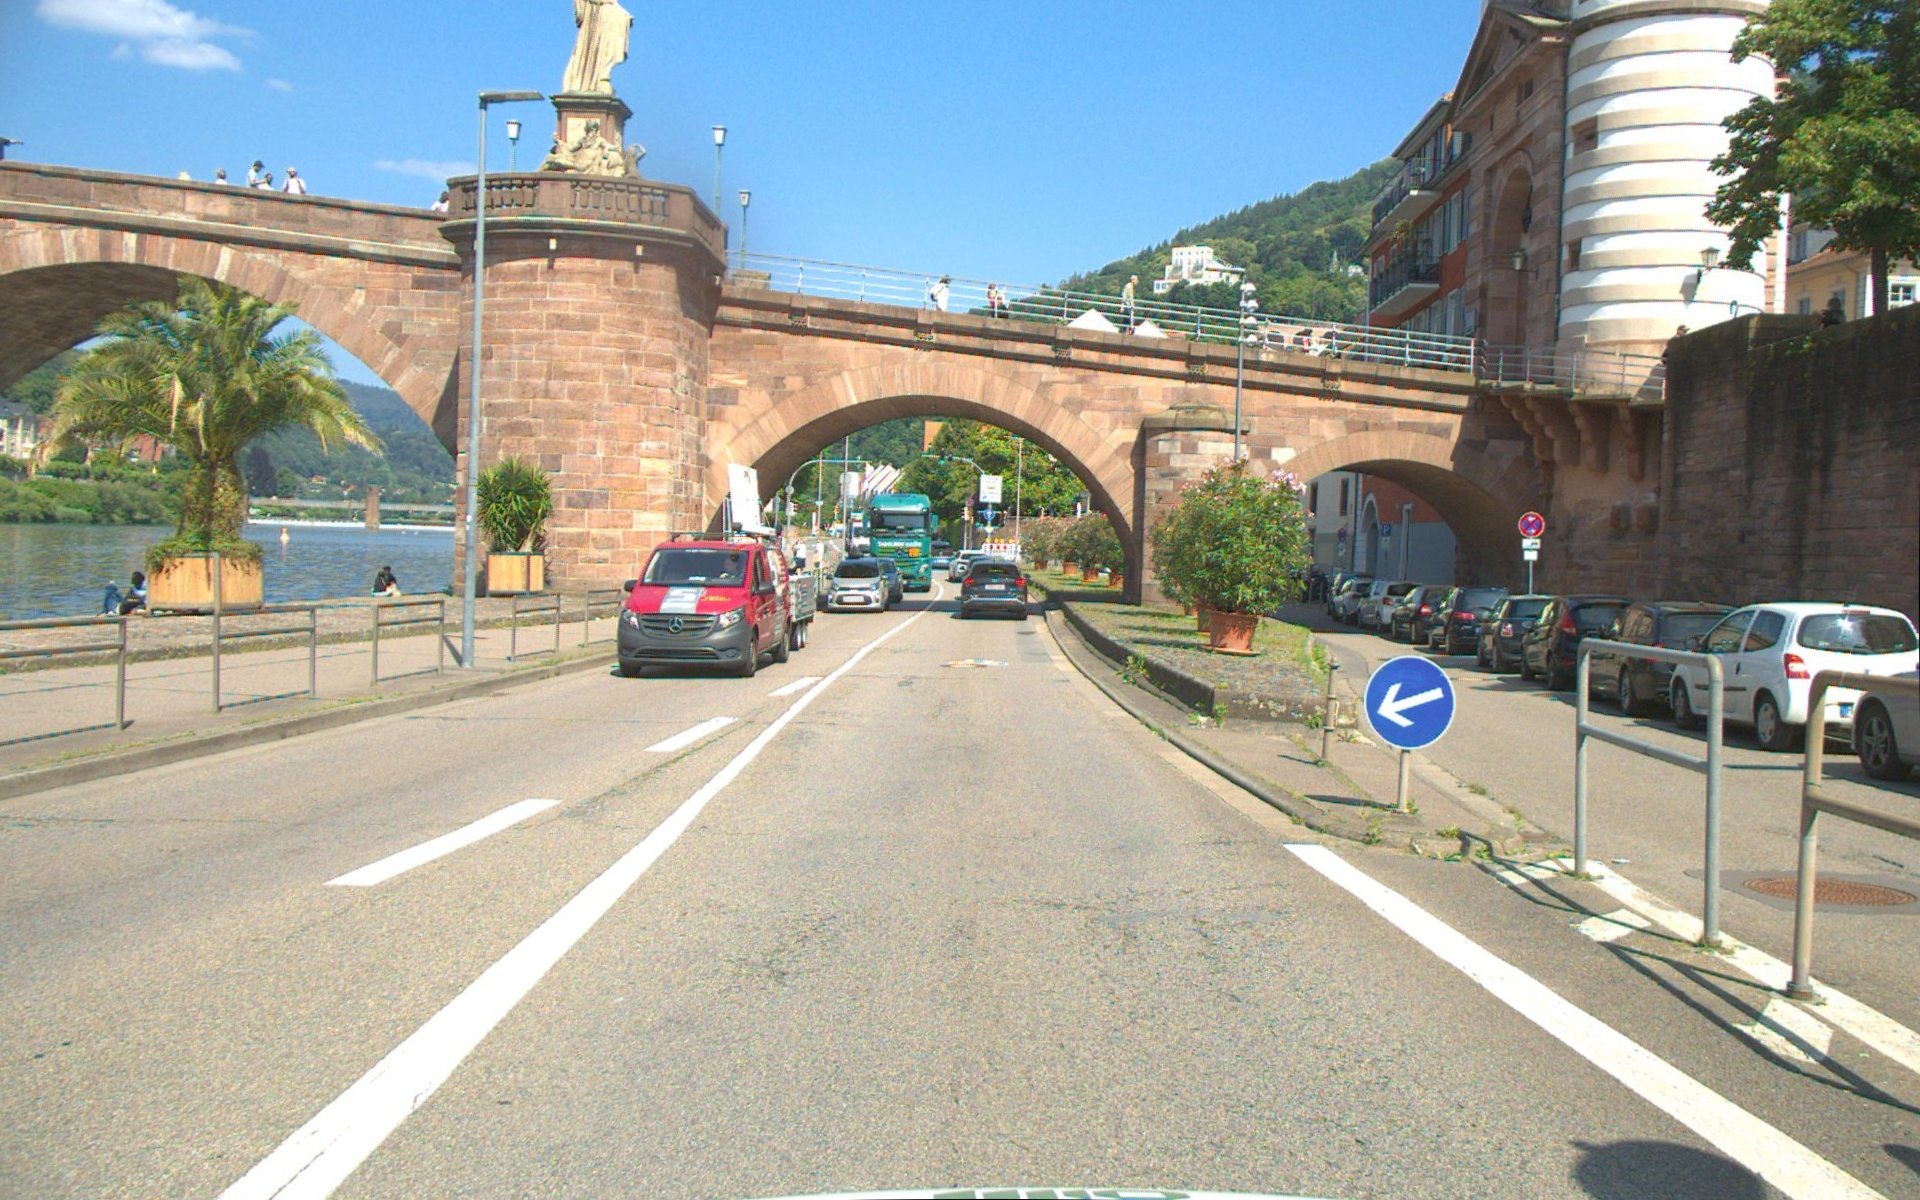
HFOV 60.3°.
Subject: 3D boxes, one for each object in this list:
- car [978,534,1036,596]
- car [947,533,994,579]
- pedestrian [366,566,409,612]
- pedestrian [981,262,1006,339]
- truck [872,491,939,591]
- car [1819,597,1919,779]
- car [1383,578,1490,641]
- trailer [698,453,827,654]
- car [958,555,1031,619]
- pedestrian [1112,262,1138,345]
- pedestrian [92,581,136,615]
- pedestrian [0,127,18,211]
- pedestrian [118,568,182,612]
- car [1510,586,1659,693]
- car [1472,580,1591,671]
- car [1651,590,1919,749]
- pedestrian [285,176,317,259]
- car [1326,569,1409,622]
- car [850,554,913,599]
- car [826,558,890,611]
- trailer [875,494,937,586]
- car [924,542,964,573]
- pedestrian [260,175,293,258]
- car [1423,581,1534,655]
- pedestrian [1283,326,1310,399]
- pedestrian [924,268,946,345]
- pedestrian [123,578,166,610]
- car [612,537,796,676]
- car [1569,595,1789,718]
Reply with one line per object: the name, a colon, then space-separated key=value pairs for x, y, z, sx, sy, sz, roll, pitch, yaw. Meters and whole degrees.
car: x=1.645 y=-1.224 z=58.127 sx=1.952 sy=2.048 sz=4.001 roll=1 pitch=1 yaw=1
car: x=0.482 y=-2.035 z=76.991 sx=1.954 sy=2.048 sz=3.998 roll=1 pitch=1 yaw=-3
pedestrian: x=-16.298 y=-0.315 z=47.121 sx=0.711 sy=1.262 sz=1.146 roll=1 pitch=1 yaw=5
pedestrian: x=0.956 y=-8.445 z=46.674 sx=0.670 sy=2.048 sz=0.586 roll=1 pitch=1 yaw=2
truck: x=-2.114 y=-2.415 z=66.481 sx=2.472 sy=3.813 sz=6.247 roll=0 pitch=3 yaw=0
car: x=8.645 y=0.759 z=12.827 sx=1.717 sy=1.457 sz=4.759 roll=2 pitch=1 yaw=4
car: x=12.298 y=0.208 z=42.954 sx=1.738 sy=1.461 sz=4.495 roll=1 pitch=1 yaw=4
trailer: x=-3.448 y=-0.815 z=29.465 sx=1.705 sy=3.378 sz=3.385 roll=0 pitch=1 yaw=3
car: x=0.959 y=-0.385 z=44.164 sx=1.818 sy=1.550 sz=4.002 roll=1 pitch=2 yaw=3
pedestrian: x=4.340 y=-7.777 z=43.427 sx=0.610 sy=2.048 sz=0.695 roll=1 pitch=1 yaw=2
pedestrian: x=-14.789 y=-0.035 z=28.915 sx=0.453 sy=0.574 sz=0.515 roll=-2 pitch=0 yaw=11
pedestrian: x=-25.458 y=-11.410 z=43.791 sx=0.679 sy=2.048 sz=0.625 roll=1 pitch=1 yaw=-2
pedestrian: x=-14.910 y=-0.191 z=30.457 sx=0.770 sy=0.755 sz=0.711 roll=2 pitch=2 yaw=11
car: x=9.995 y=0.574 z=26.688 sx=1.463 sy=1.510 sz=3.719 roll=2 pitch=1 yaw=9
car: x=10.770 y=0.429 z=31.408 sx=1.557 sy=1.547 sz=3.907 roll=2 pitch=1 yaw=11
car: x=8.998 y=0.670 z=17.870 sx=1.675 sy=1.483 sz=3.549 roll=2 pitch=1 yaw=3
pedestrian: x=-17.637 y=-10.222 z=44.283 sx=0.611 sy=2.048 sz=0.694 roll=1 pitch=1 yaw=-6
car: x=12.925 y=-0.180 z=52.682 sx=1.853 sy=1.518 sz=4.420 roll=1 pitch=2 yaw=4
car: x=-2.619 y=-0.794 z=56.167 sx=1.687 sy=1.461 sz=4.402 roll=0 pitch=1 yaw=3
car: x=-2.900 y=-0.483 z=47.763 sx=1.503 sy=1.461 sz=3.729 roll=0 pitch=1 yaw=2
trailer: x=-2.272 y=-2.677 z=72.741 sx=2.472 sy=3.707 sz=11.532 roll=0 pitch=2 yaw=-1
car: x=-0.966 y=-2.414 z=95.093 sx=1.955 sy=1.691 sz=3.996 roll=2 pitch=1 yaw=-5
pedestrian: x=-18.232 y=-10.227 z=44.128 sx=0.611 sy=2.048 sz=0.694 roll=1 pitch=1 yaw=-6
car: x=11.762 y=0.354 z=37.749 sx=1.738 sy=1.528 sz=3.990 roll=1 pitch=1 yaw=8
pedestrian: x=9.861 y=-6.956 z=48.472 sx=0.670 sy=2.048 sz=0.586 roll=1 pitch=1 yaw=2
pedestrian: x=-0.698 y=-8.241 z=46.437 sx=0.569 sy=2.048 sz=0.586 roll=1 pitch=1 yaw=2
pedestrian: x=-14.866 y=-0.111 z=30.163 sx=0.453 sy=0.574 sz=0.515 roll=-2 pitch=0 yaw=11
car: x=-3.666 y=0.025 z=24.491 sx=1.835 sy=1.859 sz=4.546 roll=0 pitch=2 yaw=2
car: x=9.393 y=0.670 z=21.953 sx=1.674 sy=1.412 sz=4.411 roll=0 pitch=1 yaw=10
